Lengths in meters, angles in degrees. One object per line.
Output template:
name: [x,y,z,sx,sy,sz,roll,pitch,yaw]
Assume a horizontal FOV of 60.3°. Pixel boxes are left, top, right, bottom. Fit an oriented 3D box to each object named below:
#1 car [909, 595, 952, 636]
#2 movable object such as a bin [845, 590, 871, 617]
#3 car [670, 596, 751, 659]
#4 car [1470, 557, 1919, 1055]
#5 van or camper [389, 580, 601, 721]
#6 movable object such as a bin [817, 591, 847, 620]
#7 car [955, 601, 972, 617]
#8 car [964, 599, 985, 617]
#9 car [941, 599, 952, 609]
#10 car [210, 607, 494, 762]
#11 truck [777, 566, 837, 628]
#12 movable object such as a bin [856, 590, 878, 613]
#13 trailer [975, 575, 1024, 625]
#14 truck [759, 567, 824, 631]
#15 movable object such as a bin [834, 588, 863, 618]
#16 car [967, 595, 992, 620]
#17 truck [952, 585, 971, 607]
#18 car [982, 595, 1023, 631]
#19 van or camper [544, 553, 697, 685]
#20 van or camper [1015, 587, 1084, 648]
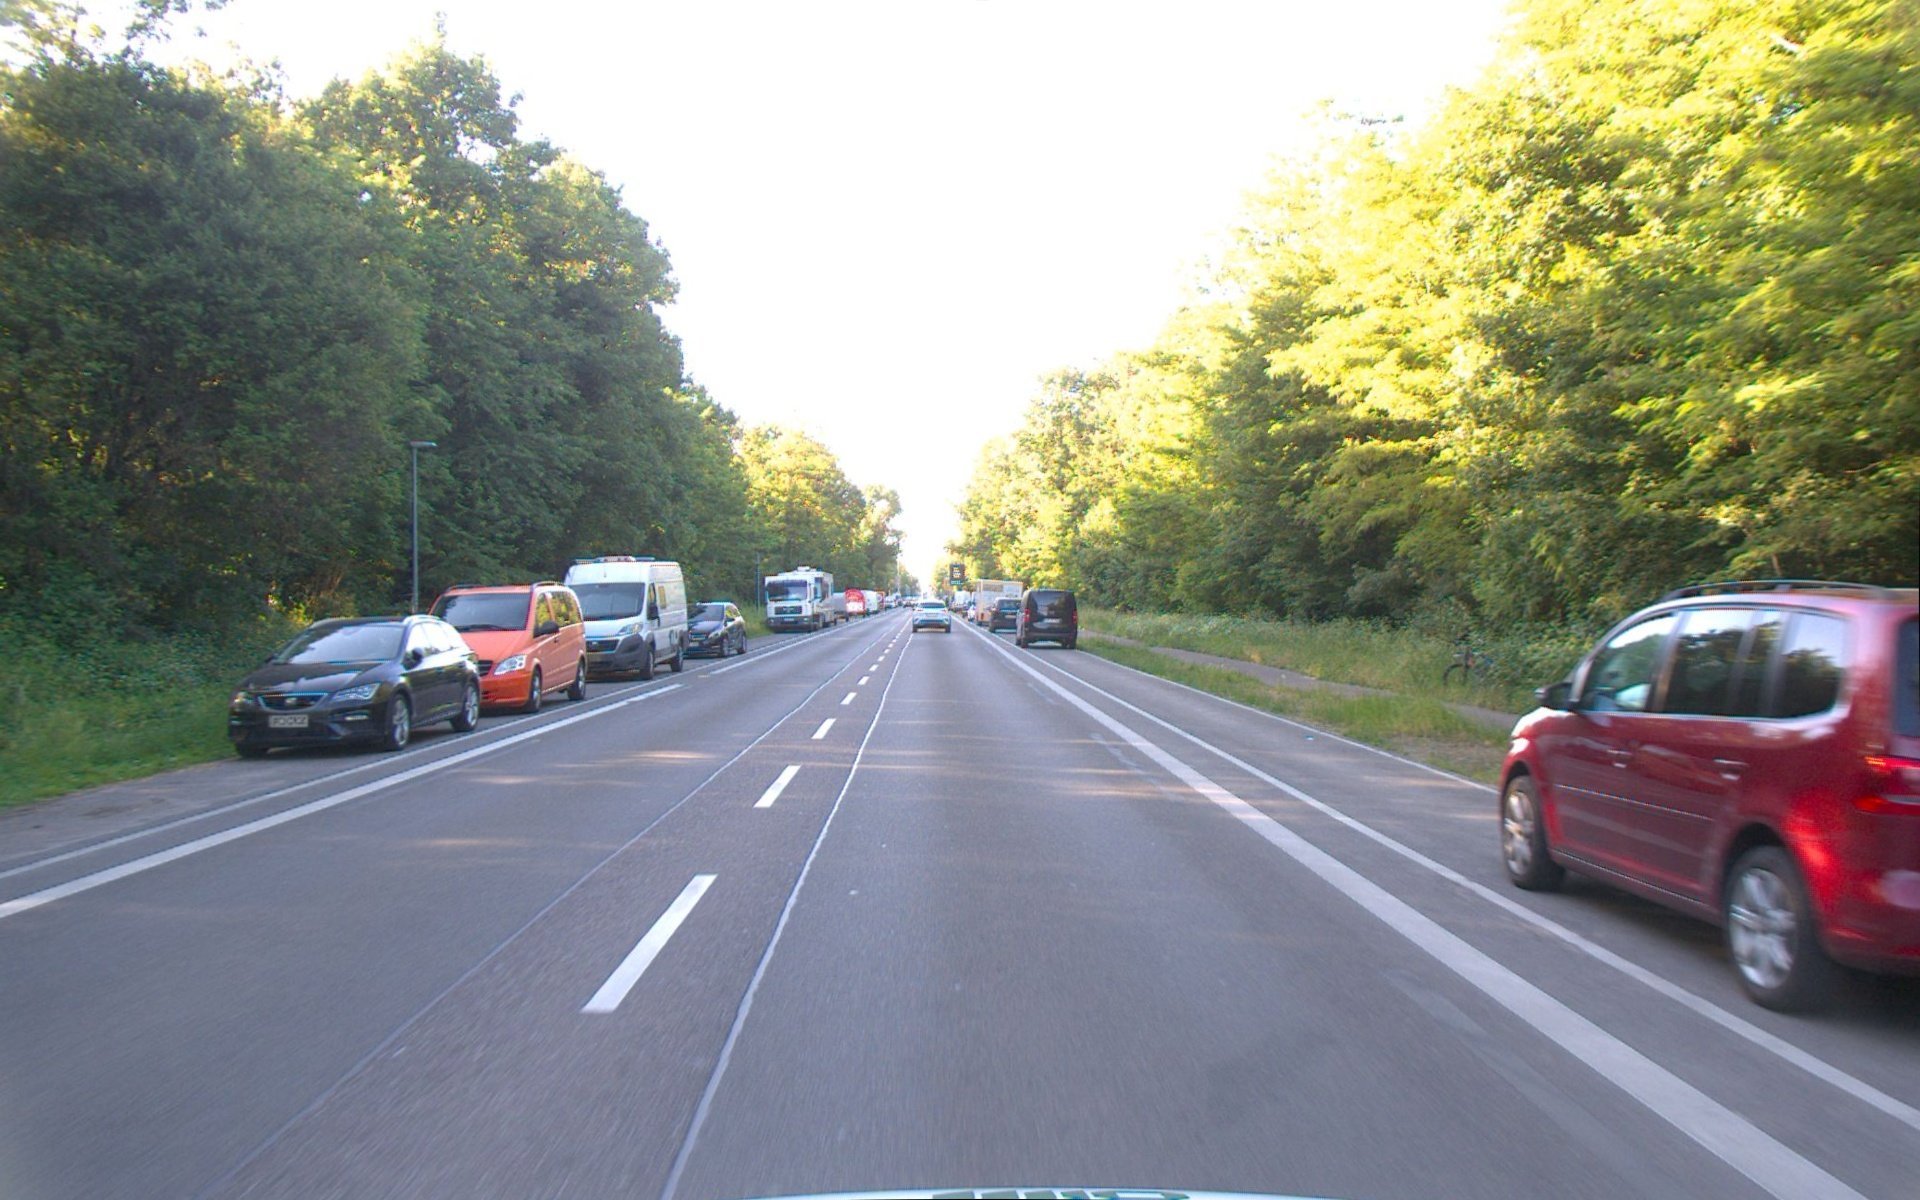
car: [-1.379,0.697,78.386,1.987,1.872,4.028,0,0,-1]
movable object such as a bin: [-9.772,0.307,158.604,2.275,2.545,3.999,0,0,-1]
car: [-7.278,0.781,48.580,1.745,1.713,4.377,-2,0,-1]
car: [4.023,0.719,7.811,1.797,1.689,4.337,2,0,-1]
van or camper: [-7.002,0.695,25.463,1.884,1.899,4.862,-2,0,-1]
movable object such as a bin: [-9.264,0.386,119.737,1.914,2.049,3.999,0,0,-1]
car: [0.323,0.899,168.102,1.622,1.504,3.753,0,0,-1]
car: [1.174,0.648,137.272,1.622,1.504,3.753,0,0,-1]
car: [-2.015,0.585,245.195,1.622,1.504,3.753,0,0,-1]
car: [-6.847,0.872,19.132,1.696,1.504,4.323,-2,0,-1]
truck: [-8.809,-0.191,96.329,2.652,3.406,10.921,0,0,-1]
movable object such as a bin: [-10.141,0.174,181.116,2.275,2.545,3.999,0,0,-1]
trailer: [2.342,-0.014,101.152,2.701,2.920,6.587,0,0,-1]
truck: [-8.581,-0.036,85.134,2.653,3.148,7.987,0,0,-1]
movable object such as a bin: [-9.724,0.279,144.178,2.275,2.545,3.999,0,0,-1]
car: [1.368,0.528,117.130,1.697,1.713,3.999,0,0,-1]
truck: [0.184,-0.501,191.966,2.054,2.495,5.679,0,0,-1]
car: [2.021,0.609,79.016,1.804,1.691,3.999,0,0,-1]
van or camper: [-7.337,0.371,36.478,2.077,2.617,6.541,-1,0,-1]
van or camper: [2.987,0.561,56.371,1.953,1.966,5.198,1,0,-1]
